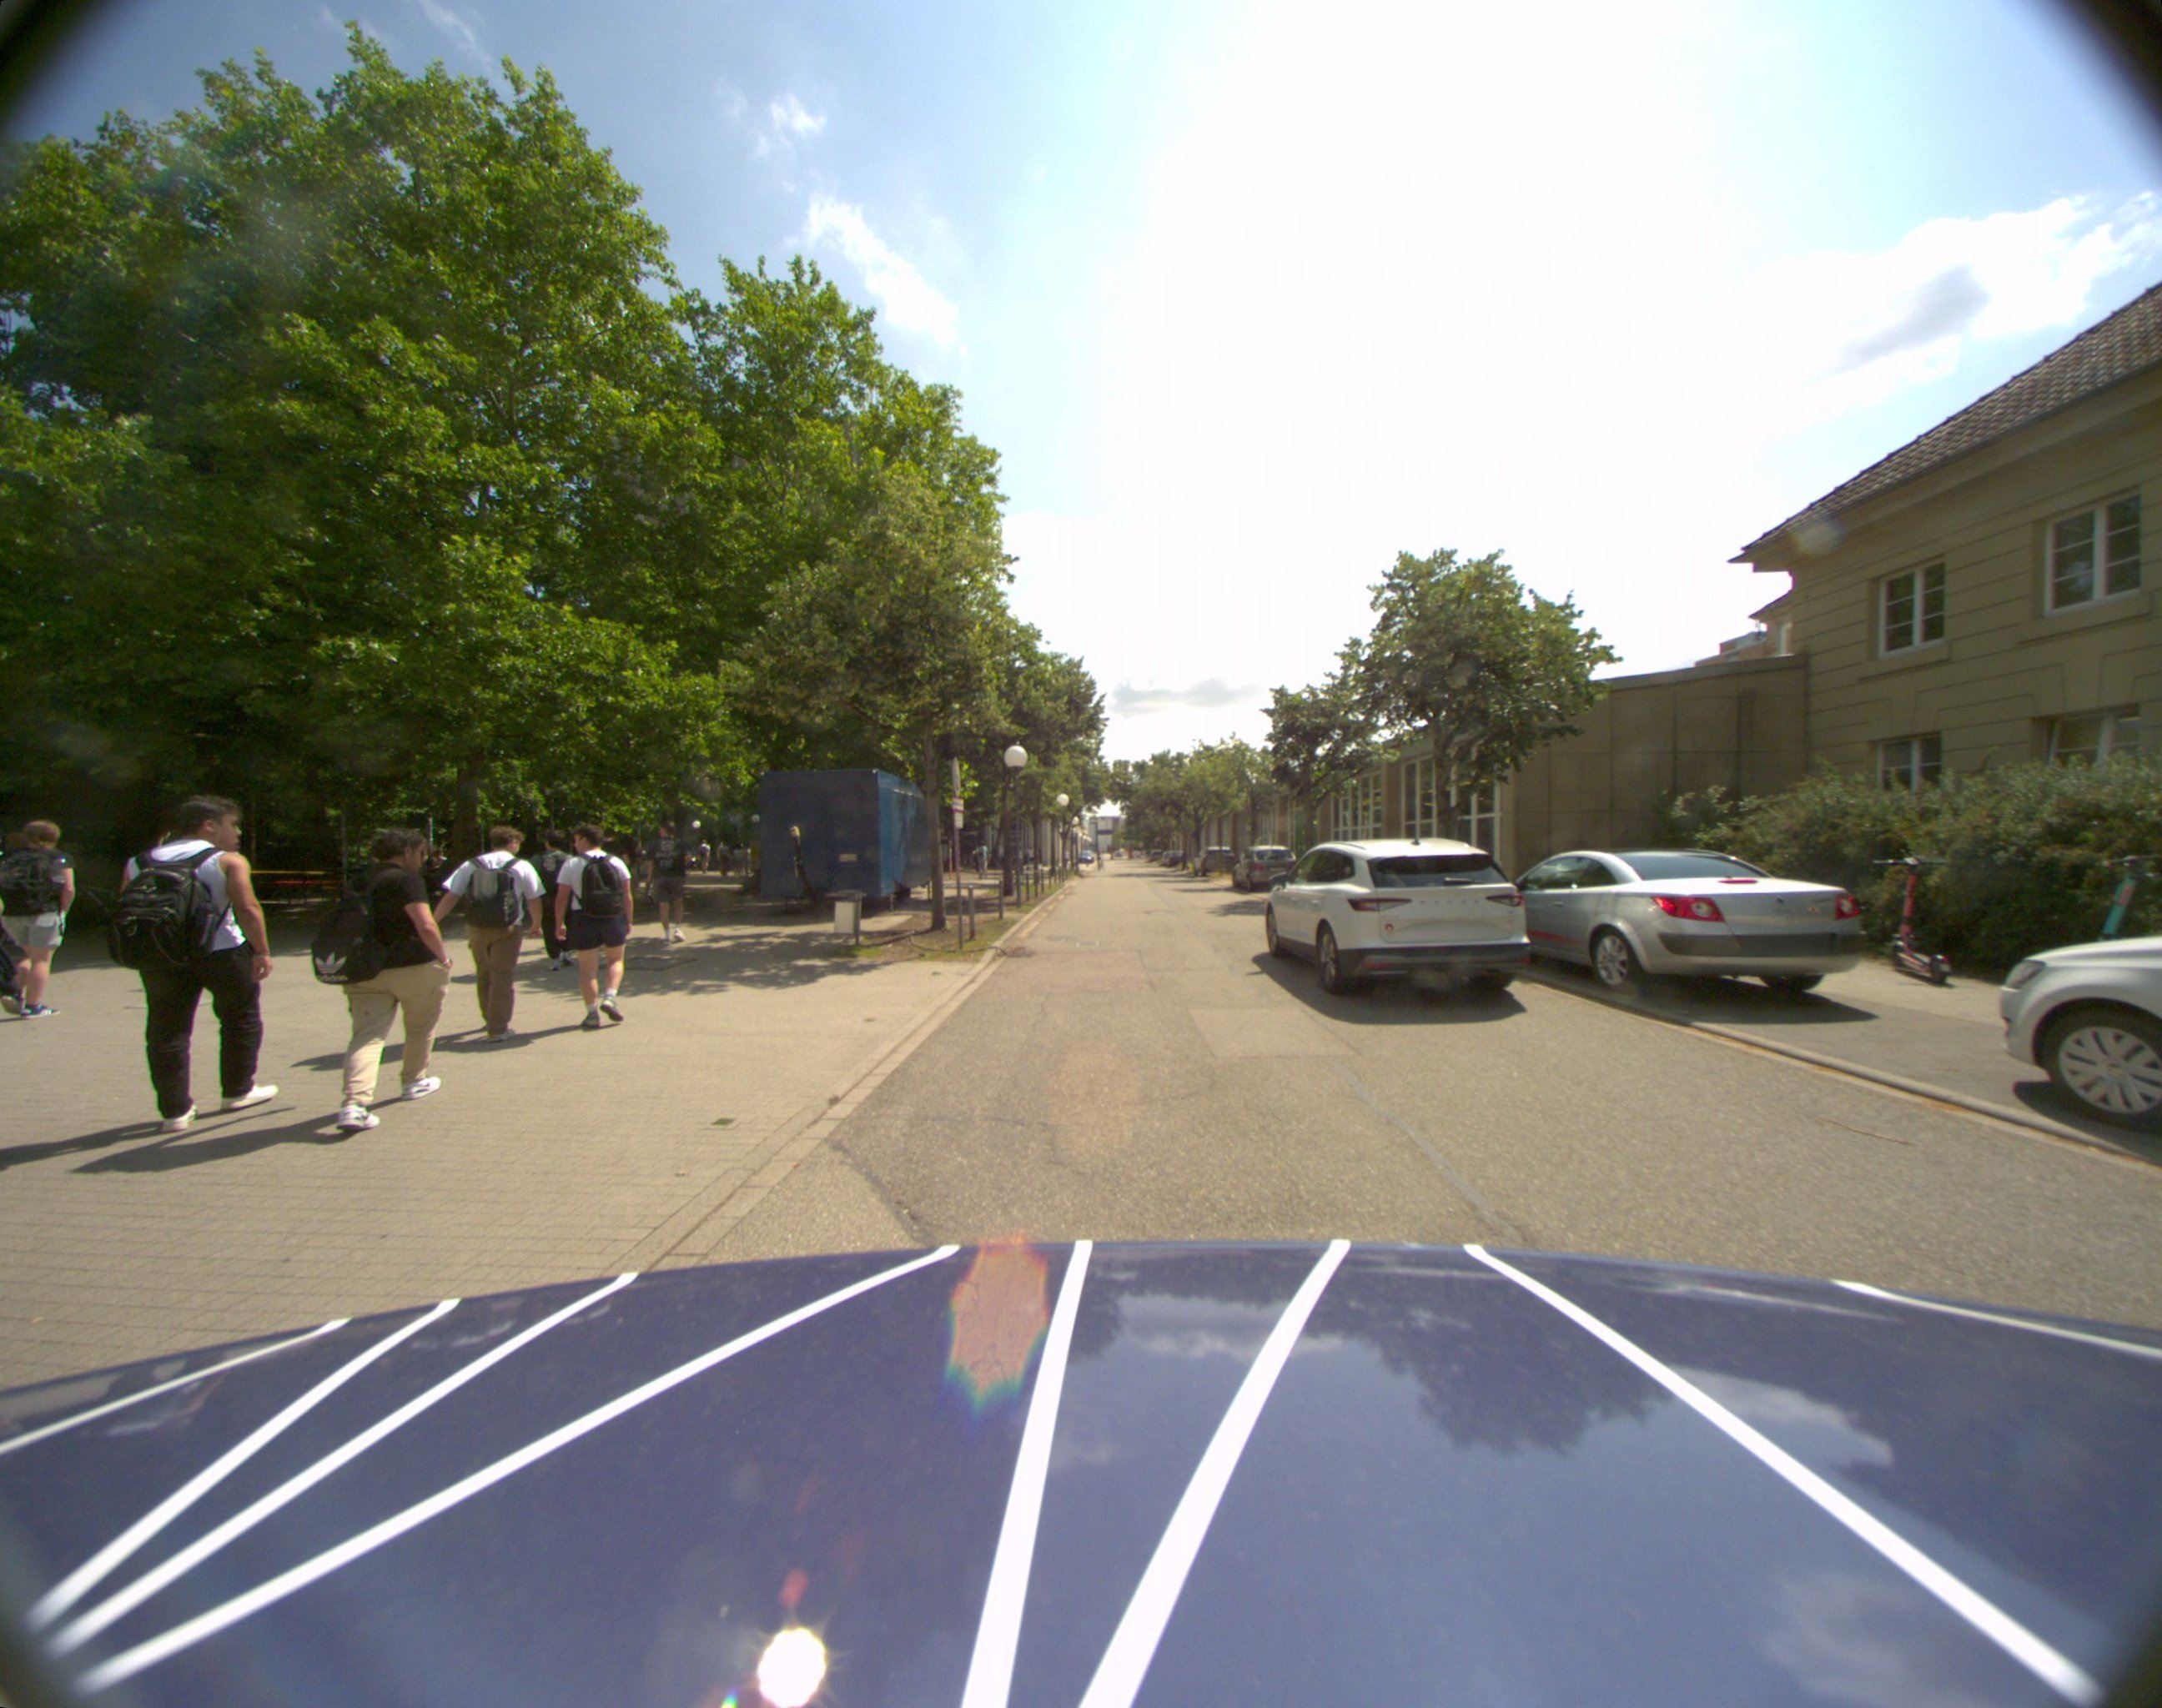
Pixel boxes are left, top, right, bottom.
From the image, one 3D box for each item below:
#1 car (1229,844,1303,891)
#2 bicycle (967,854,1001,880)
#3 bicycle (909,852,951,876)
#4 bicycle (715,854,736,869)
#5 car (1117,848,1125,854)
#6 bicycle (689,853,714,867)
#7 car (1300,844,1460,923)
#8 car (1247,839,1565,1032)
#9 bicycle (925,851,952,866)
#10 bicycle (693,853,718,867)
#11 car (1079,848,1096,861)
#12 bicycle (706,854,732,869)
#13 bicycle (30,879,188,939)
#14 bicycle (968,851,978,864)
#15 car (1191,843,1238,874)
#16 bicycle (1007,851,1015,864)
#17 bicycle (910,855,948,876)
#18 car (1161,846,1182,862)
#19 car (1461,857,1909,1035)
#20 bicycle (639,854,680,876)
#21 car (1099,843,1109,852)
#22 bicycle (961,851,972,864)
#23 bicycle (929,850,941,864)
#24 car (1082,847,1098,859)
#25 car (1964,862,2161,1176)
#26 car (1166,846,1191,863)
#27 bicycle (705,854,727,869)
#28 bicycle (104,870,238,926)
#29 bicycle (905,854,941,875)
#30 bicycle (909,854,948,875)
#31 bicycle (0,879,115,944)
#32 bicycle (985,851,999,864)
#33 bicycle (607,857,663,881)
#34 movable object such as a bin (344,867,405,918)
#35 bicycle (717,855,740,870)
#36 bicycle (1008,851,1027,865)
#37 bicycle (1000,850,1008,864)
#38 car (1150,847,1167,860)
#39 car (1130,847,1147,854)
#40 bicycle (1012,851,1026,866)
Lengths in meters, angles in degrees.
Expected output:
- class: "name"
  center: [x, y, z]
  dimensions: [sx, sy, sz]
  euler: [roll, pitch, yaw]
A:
- class: "car"
  center: [6.764, 0.425, 28.186]
  dimensions: [1.761, 1.547, 4.113]
  euler: [-3, 1, 1]
- class: "bicycle"
  center: [-4.463, 0.563, 35.105]
  dimensions: [0.651, 1.117, 2.299]
  euler: [2, 1, 16]
- class: "bicycle"
  center: [-7.567, 0.495, 38.058]
  dimensions: [2.021, 1.160, 0.651]
  euler: [0, 1, -9]
- class: "bicycle"
  center: [-26.673, 0.591, 56.976]
  dimensions: [0.352, 1.077, 1.474]
  euler: [-3, 0, 29]
- class: "car"
  center: [9.763, -0.704, 185.320]
  dimensions: [1.803, 1.441, 3.676]
  euler: [-3, 1, 2]
- class: "bicycle"
  center: [-29.892, 0.463, 59.832]
  dimensions: [0.477, 1.077, 1.691]
  euler: [-3, 0, 41]
- class: "car"
  center: [6.381, 0.536, 16.807]
  dimensions: [1.729, 1.448, 4.583]
  euler: [-3, 1, 1]
- class: "car"
  center: [3.427, 0.702, 9.122]
  dimensions: [1.922, 1.610, 4.519]
  euler: [-3, 1, 2]
- class: "bicycle"
  center: [-11.003, 0.329, 58.759]
  dimensions: [1.928, 1.103, 0.631]
  euler: [-1, 2, -34]
- class: "bicycle"
  center: [-29.475, 0.477, 59.603]
  dimensions: [0.477, 1.077, 1.691]
  euler: [-3, 0, 35]
- class: "car"
  center: [0.848, 0.062, 90.447]
  dimensions: [1.842, 1.390, 3.878]
  euler: [1, 0, 3]
- class: "bicycle"
  center: [-27.356, 0.565, 57.476]
  dimensions: [1.691, 1.077, 0.477]
  euler: [-3, 0, -43]
- class: "bicycle"
  center: [-18.635, 1.031, 14.583]
  dimensions: [2.400, 1.066, 0.783]
  euler: [0, 2, 10]
- class: "bicycle"
  center: [-9.266, 0.334, 65.168]
  dimensions: [0.481, 1.079, 1.516]
  euler: [1, -1, 8]
- class: "car"
  center: [7.627, 0.206, 43.681]
  dimensions: [1.826, 1.623, 4.516]
  euler: [-3, 1, 0]
- class: "bicycle"
  center: [-5.943, 0.297, 64.700]
  dimensions: [0.561, 1.135, 1.489]
  euler: [1, 1, 0]
- class: "bicycle"
  center: [-8.005, 0.582, 40.029]
  dimensions: [1.950, 1.076, 0.404]
  euler: [0, 1, -9]
- class: "car"
  center: [8.675, 0.001, 72.899]
  dimensions: [1.633, 1.441, 3.752]
  euler: [-3, 1, 2]
- class: "car"
  center: [5.949, 0.764, 8.267]
  dimensions: [1.729, 1.336, 4.166]
  euler: [-2, 0, 4]
- class: "bicycle"
  center: [-21.153, 0.538, 38.137]
  dimensions: [1.755, 1.087, 0.477]
  euler: [0, 1, -24]
- class: "car"
  center: [5.317, -1.428, 174.429]
  dimensions: [1.998, 2.002, 4.001]
  euler: [2, 0, 3]
- class: "bicycle"
  center: [-9.770, 0.282, 64.903]
  dimensions: [0.481, 1.079, 1.698]
  euler: [1, -1, 8]
- class: "bicycle"
  center: [-12.504, 0.272, 65.114]
  dimensions: [0.627, 1.143, 1.697]
  euler: [1, -1, 4]
- class: "car"
  center: [1.152, -0.116, 96.302]
  dimensions: [1.842, 1.390, 3.878]
  euler: [1, 0, 3]
- class: "car"
  center: [5.780, 0.771, 2.381]
  dimensions: [1.666, 1.403, 3.807]
  euler: [-2, 0, 2]
- class: "car"
  center: [8.610, 0.047, 67.171]
  dimensions: [1.729, 1.427, 4.290]
  euler: [-3, 0, 2]
- class: "bicycle"
  center: [-27.233, 0.569, 56.765]
  dimensions: [0.352, 1.077, 1.474]
  euler: [-3, 0, 32]
- class: "bicycle"
  center: [-18.850, 0.916, 15.747]
  dimensions: [2.400, 1.066, 0.783]
  euler: [-2, 1, 15]
- class: "bicycle"
  center: [-8.139, 0.523, 39.189]
  dimensions: [1.773, 1.076, 0.438]
  euler: [0, 1, -9]
- class: "bicycle"
  center: [-7.927, 0.532, 39.605]
  dimensions: [1.950, 1.076, 0.404]
  euler: [0, 1, -9]
- class: "bicycle"
  center: [-18.755, 1.009, 13.673]
  dimensions: [2.399, 1.066, 0.784]
  euler: [0, 2, 15]
- class: "bicycle"
  center: [-7.609, 0.300, 64.719]
  dimensions: [0.491, 1.134, 1.529]
  euler: [1, -1, 22]
- class: "bicycle"
  center: [-18.906, 0.629, 32.251]
  dimensions: [1.961, 0.973, 0.612]
  euler: [0, 1, -17]
- class: "movable object such as a bin"
  center: [-15.797, 0.854, 16.996]
  dimensions: [0.600, 1.065, 0.742]
  euler: [-1, 3, 3]
- class: "bicycle"
  center: [-26.246, 0.608, 56.531]
  dimensions: [0.352, 1.077, 1.475]
  euler: [-3, 0, 43]
- class: "bicycle"
  center: [-5.329, 0.335, 63.925]
  dimensions: [0.604, 1.135, 1.790]
  euler: [2, 2, 35]
- class: "bicycle"
  center: [-7.360, 0.300, 72.855]
  dimensions: [0.531, 1.235, 1.829]
  euler: [0, 2, 2]
- class: "car"
  center: [9.667, -0.083, 95.104]
  dimensions: [1.803, 1.441, 3.676]
  euler: [-3, 1, 2]
- class: "car"
  center: [12.490, -0.752, 164.936]
  dimensions: [3.673, 1.441, 1.804]
  euler: [-3, 1, 1]
- class: "bicycle"
  center: [-4.795, 0.341, 58.382]
  dimensions: [0.629, 1.078, 1.684]
  euler: [-3, 4, -20]
